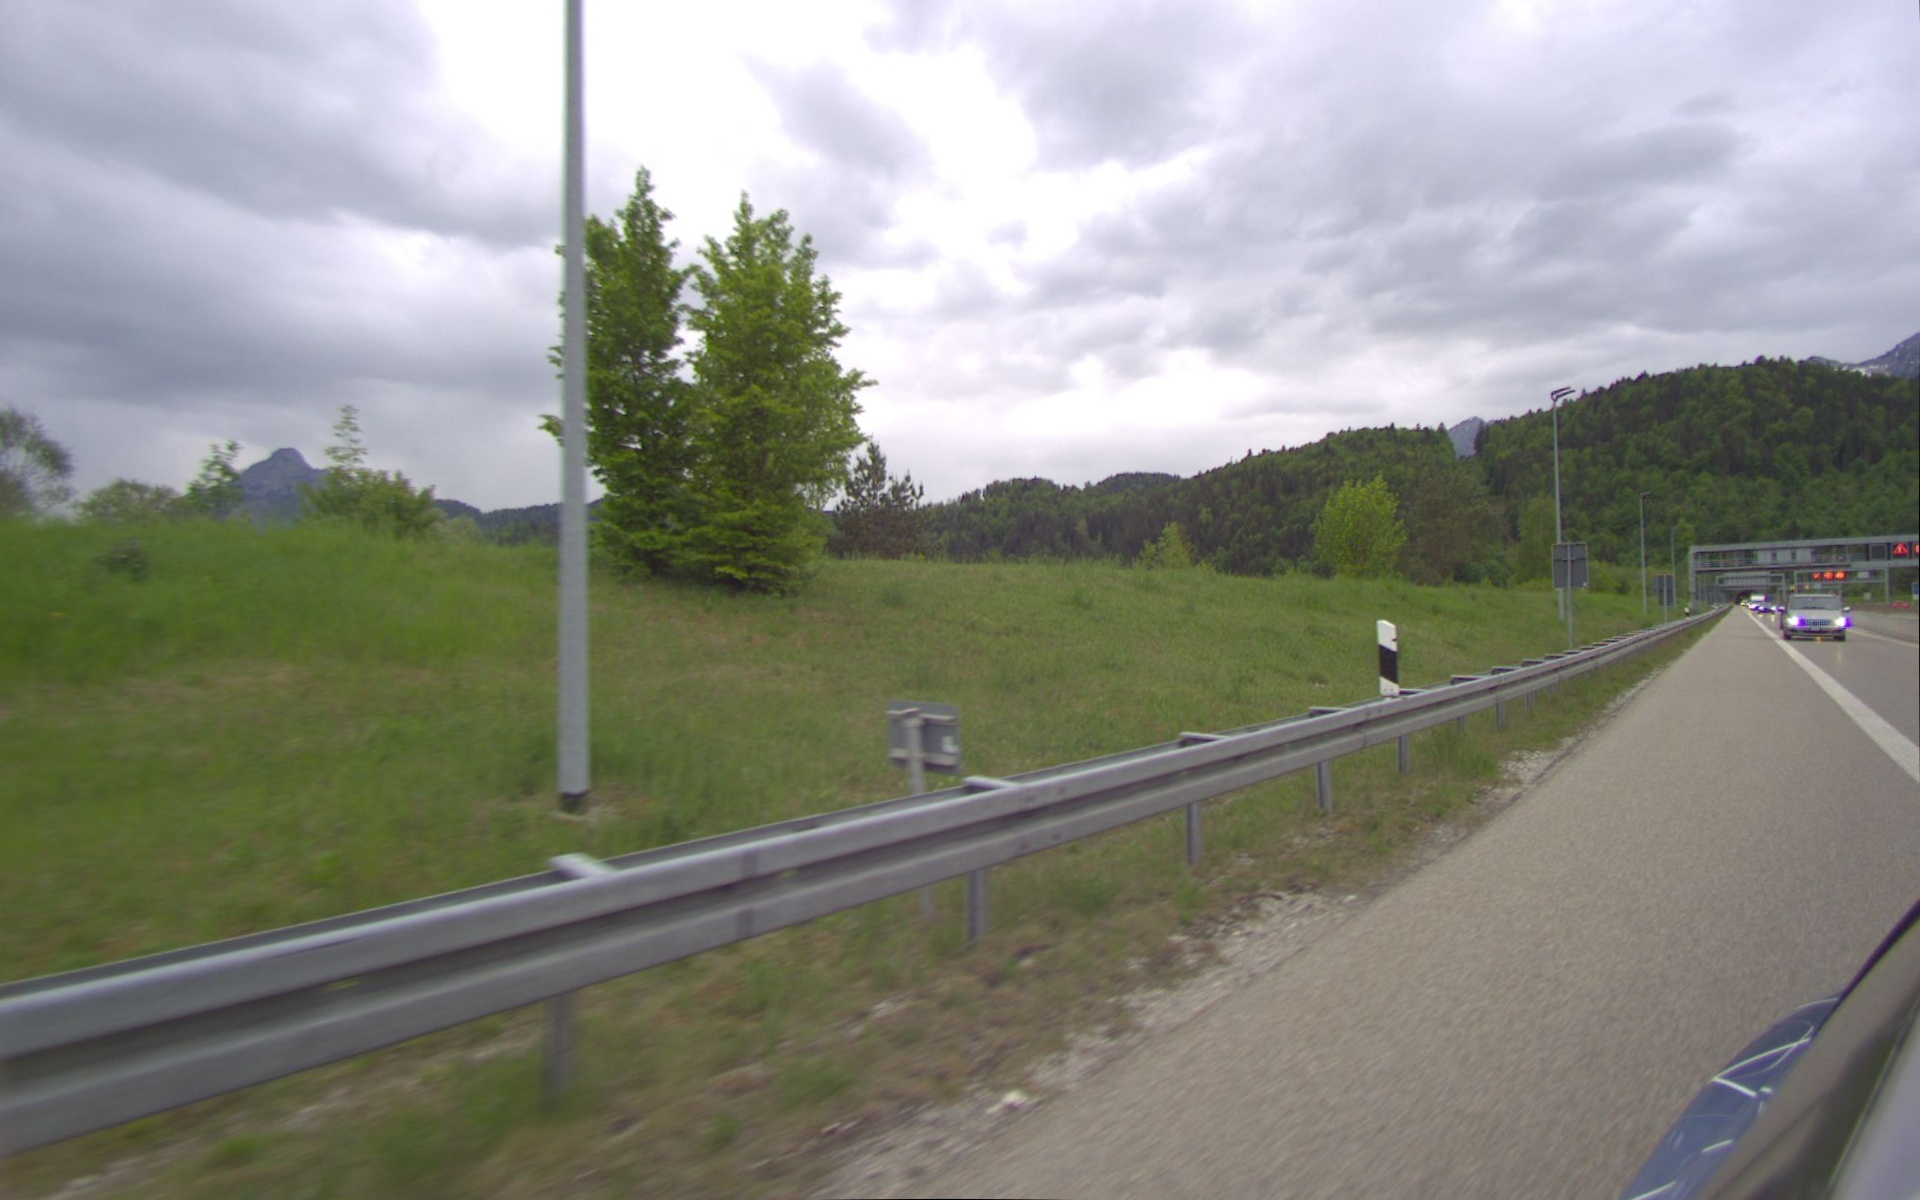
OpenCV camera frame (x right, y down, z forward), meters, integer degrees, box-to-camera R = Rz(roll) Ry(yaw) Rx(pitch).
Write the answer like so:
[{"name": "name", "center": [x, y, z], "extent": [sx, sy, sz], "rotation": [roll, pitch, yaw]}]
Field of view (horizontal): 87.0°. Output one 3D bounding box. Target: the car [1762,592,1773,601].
[{"name": "car", "center": [161.874, -0.735, 202.856], "extent": [1.626, 1.719, 3.442], "rotation": [0, 0, 42]}]

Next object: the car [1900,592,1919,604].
[{"name": "car", "center": [129.242, -0.231, 137.550], "extent": [1.699, 1.595, 4.118], "rotation": [-2, -1, 38]}]

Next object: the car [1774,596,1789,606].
[{"name": "car", "center": [115.103, 0.177, 141.822], "extent": [1.656, 1.354, 3.739], "rotation": [0, 0, 38]}]

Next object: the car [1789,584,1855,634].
[{"name": "car", "center": [35.012, 0.320, 41.216], "extent": [1.915, 1.905, 5.066], "rotation": [0, 1, 39]}]
